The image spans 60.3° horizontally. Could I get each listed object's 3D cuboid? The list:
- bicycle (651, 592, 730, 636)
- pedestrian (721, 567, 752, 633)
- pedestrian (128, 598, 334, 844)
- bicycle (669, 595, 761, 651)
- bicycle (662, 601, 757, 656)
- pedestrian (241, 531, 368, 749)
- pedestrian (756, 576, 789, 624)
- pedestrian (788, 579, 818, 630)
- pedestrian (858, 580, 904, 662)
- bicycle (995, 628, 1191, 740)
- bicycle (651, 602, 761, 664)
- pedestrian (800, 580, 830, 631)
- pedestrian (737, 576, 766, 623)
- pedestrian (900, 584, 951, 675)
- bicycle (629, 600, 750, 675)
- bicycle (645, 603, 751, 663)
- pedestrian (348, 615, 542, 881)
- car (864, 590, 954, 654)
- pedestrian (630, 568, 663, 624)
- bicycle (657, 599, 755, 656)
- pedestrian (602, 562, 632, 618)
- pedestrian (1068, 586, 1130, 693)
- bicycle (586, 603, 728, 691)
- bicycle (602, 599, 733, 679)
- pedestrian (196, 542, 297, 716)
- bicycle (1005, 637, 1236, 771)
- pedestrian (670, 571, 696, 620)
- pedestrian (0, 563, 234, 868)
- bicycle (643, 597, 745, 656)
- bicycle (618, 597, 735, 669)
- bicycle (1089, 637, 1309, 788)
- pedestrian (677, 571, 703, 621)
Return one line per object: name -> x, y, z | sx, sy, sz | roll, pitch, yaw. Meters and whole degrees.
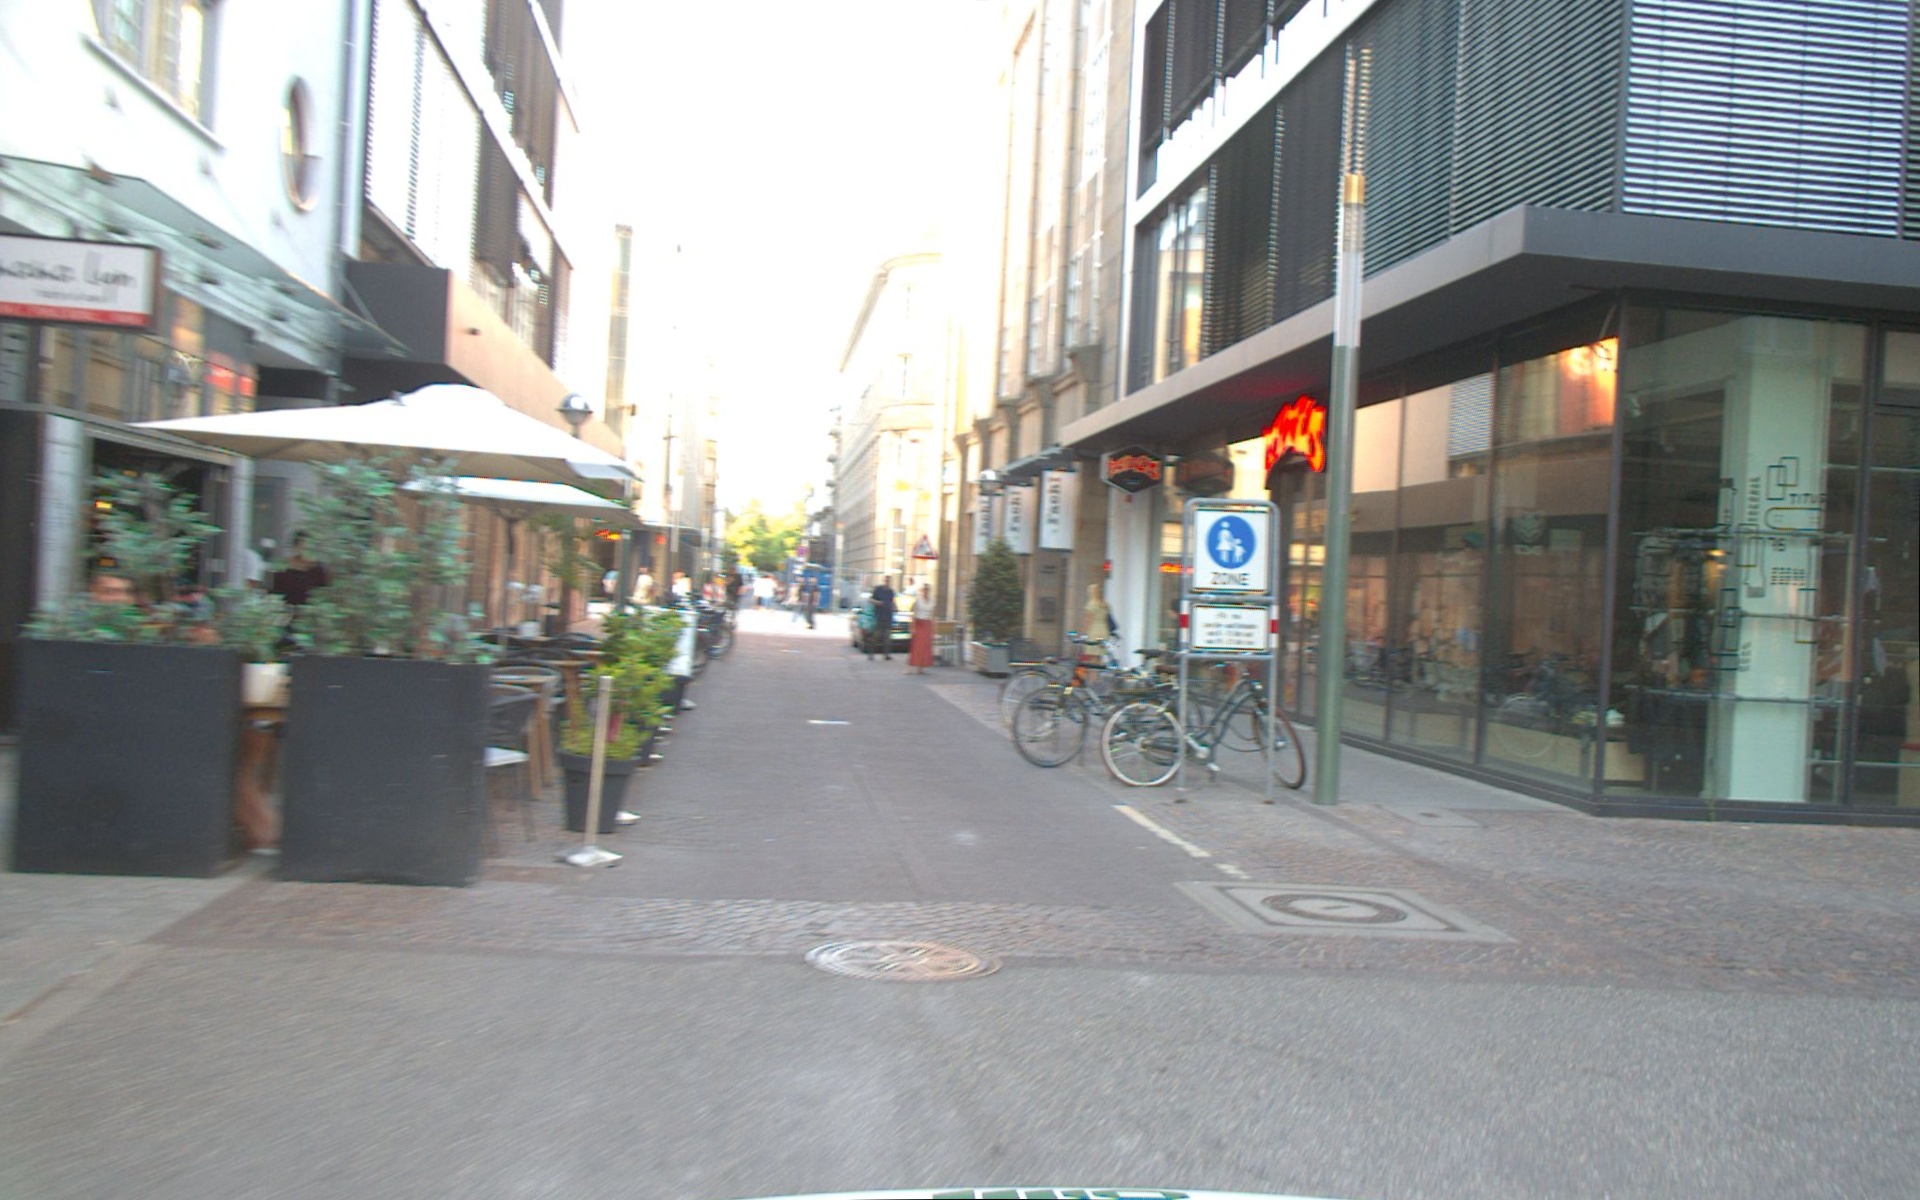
bicycle -> -7.325, 0.389, 45.013 | 2.009, 1.030, 0.466 | 5, 0, -8
pedestrian -> -6.615, -0.003, 48.938 | 0.817, 1.891, 0.905 | 2, 0, -9
pedestrian -> -3.843, 0.622, 8.776 | 0.775, 1.204, 0.672 | 4, 0, -9
bicycle -> -5.670, 0.531, 38.323 | 2.009, 1.114, 0.466 | 5, 0, -8
bicycle -> -5.619, 0.632, 37.183 | 2.009, 1.068, 0.466 | 5, 0, -8
pedestrian -> -5.251, 0.316, 13.295 | 0.776, 1.677, 0.723 | 2, 0, -13
pedestrian -> -7.108, -0.003, 62.813 | 0.988, 1.764, 0.982 | 2, 0, 5
pedestrian -> -5.354, 0.164, 56.388 | 0.888, 1.690, 0.791 | 2, 0, -10
pedestrian -> -1.700, 0.438, 35.408 | 0.882, 1.690, 0.929 | 2, 0, -6
bicycle -> 1.386, 0.868, 17.329 | 1.995, 1.141, 0.466 | 0, 0, -8
bicycle -> -4.882, 0.634, 31.867 | 2.009, 1.034, 0.466 | 5, 0, -8
pedestrian -> -4.868, 0.182, 55.638 | 0.888, 1.690, 0.791 | 2, 0, -10
pedestrian -> -7.926, -0.028, 62.960 | 0.843, 1.764, 0.934 | 2, 0, 5
pedestrian -> -0.634, 0.522, 30.039 | 0.782, 1.593, 0.858 | 2, 0, -7
bicycle -> -4.507, 0.621, 27.667 | 1.911, 1.093, 0.466 | 5, 0, -8
bicycle -> -5.214, 0.653, 32.996 | 2.009, 1.034, 0.466 | 5, 0, -8
pedestrian -> -2.511, 0.710, 8.147 | 0.776, 1.204, 0.671 | 4, 0, -13
car -> -1.320, 0.523, 41.538 | 1.722, 1.466, 3.920 | 2, 0, -9
pedestrian -> -10.923, -0.149, 57.727 | 1.006, 1.891, 0.905 | 2, 0, -7
bicycle -> -5.487, 0.587, 35.789 | 2.009, 1.068, 0.466 | 5, 0, -8
pedestrian -> -11.825, -0.342, 57.041 | 0.887, 1.891, 0.834 | 2, 0, -7
pedestrian -> 2.139, 0.599, 25.512 | 0.782, 1.593, 0.858 | 2, 0, -5
bicycle -> -4.329, 0.666, 23.721 | 1.911, 1.093, 0.466 | 5, 0, -8
bicycle -> -4.565, 0.610, 25.875 | 1.911, 1.093, 0.466 | 5, 0, -8
pedestrian -> -7.142, 0.287, 16.571 | 0.845, 1.688, 0.794 | 2, 0, -24
bicycle -> 1.412, 0.906, 14.612 | 1.971, 1.141, 0.466 | 0, 0, -8
pedestrian -> -10.847, -0.172, 64.853 | 0.887, 1.891, 0.834 | 2, 0, -7
pedestrian -> -4.034, 0.532, 7.926 | 0.775, 1.354, 0.672 | 4, 0, -9
bicycle -> -5.540, 0.556, 34.487 | 2.009, 1.068, 0.466 | 5, 0, -8
bicycle -> -4.912, 0.566, 28.747 | 1.911, 1.093, 0.466 | 5, 0, -8
bicycle -> 1.894, 0.880, 13.146 | 1.665, 1.156, 0.466 | 0, 0, -8
pedestrian -> -10.444, -0.157, 64.032 | 0.887, 1.891, 0.834 | 2, 0, -7
